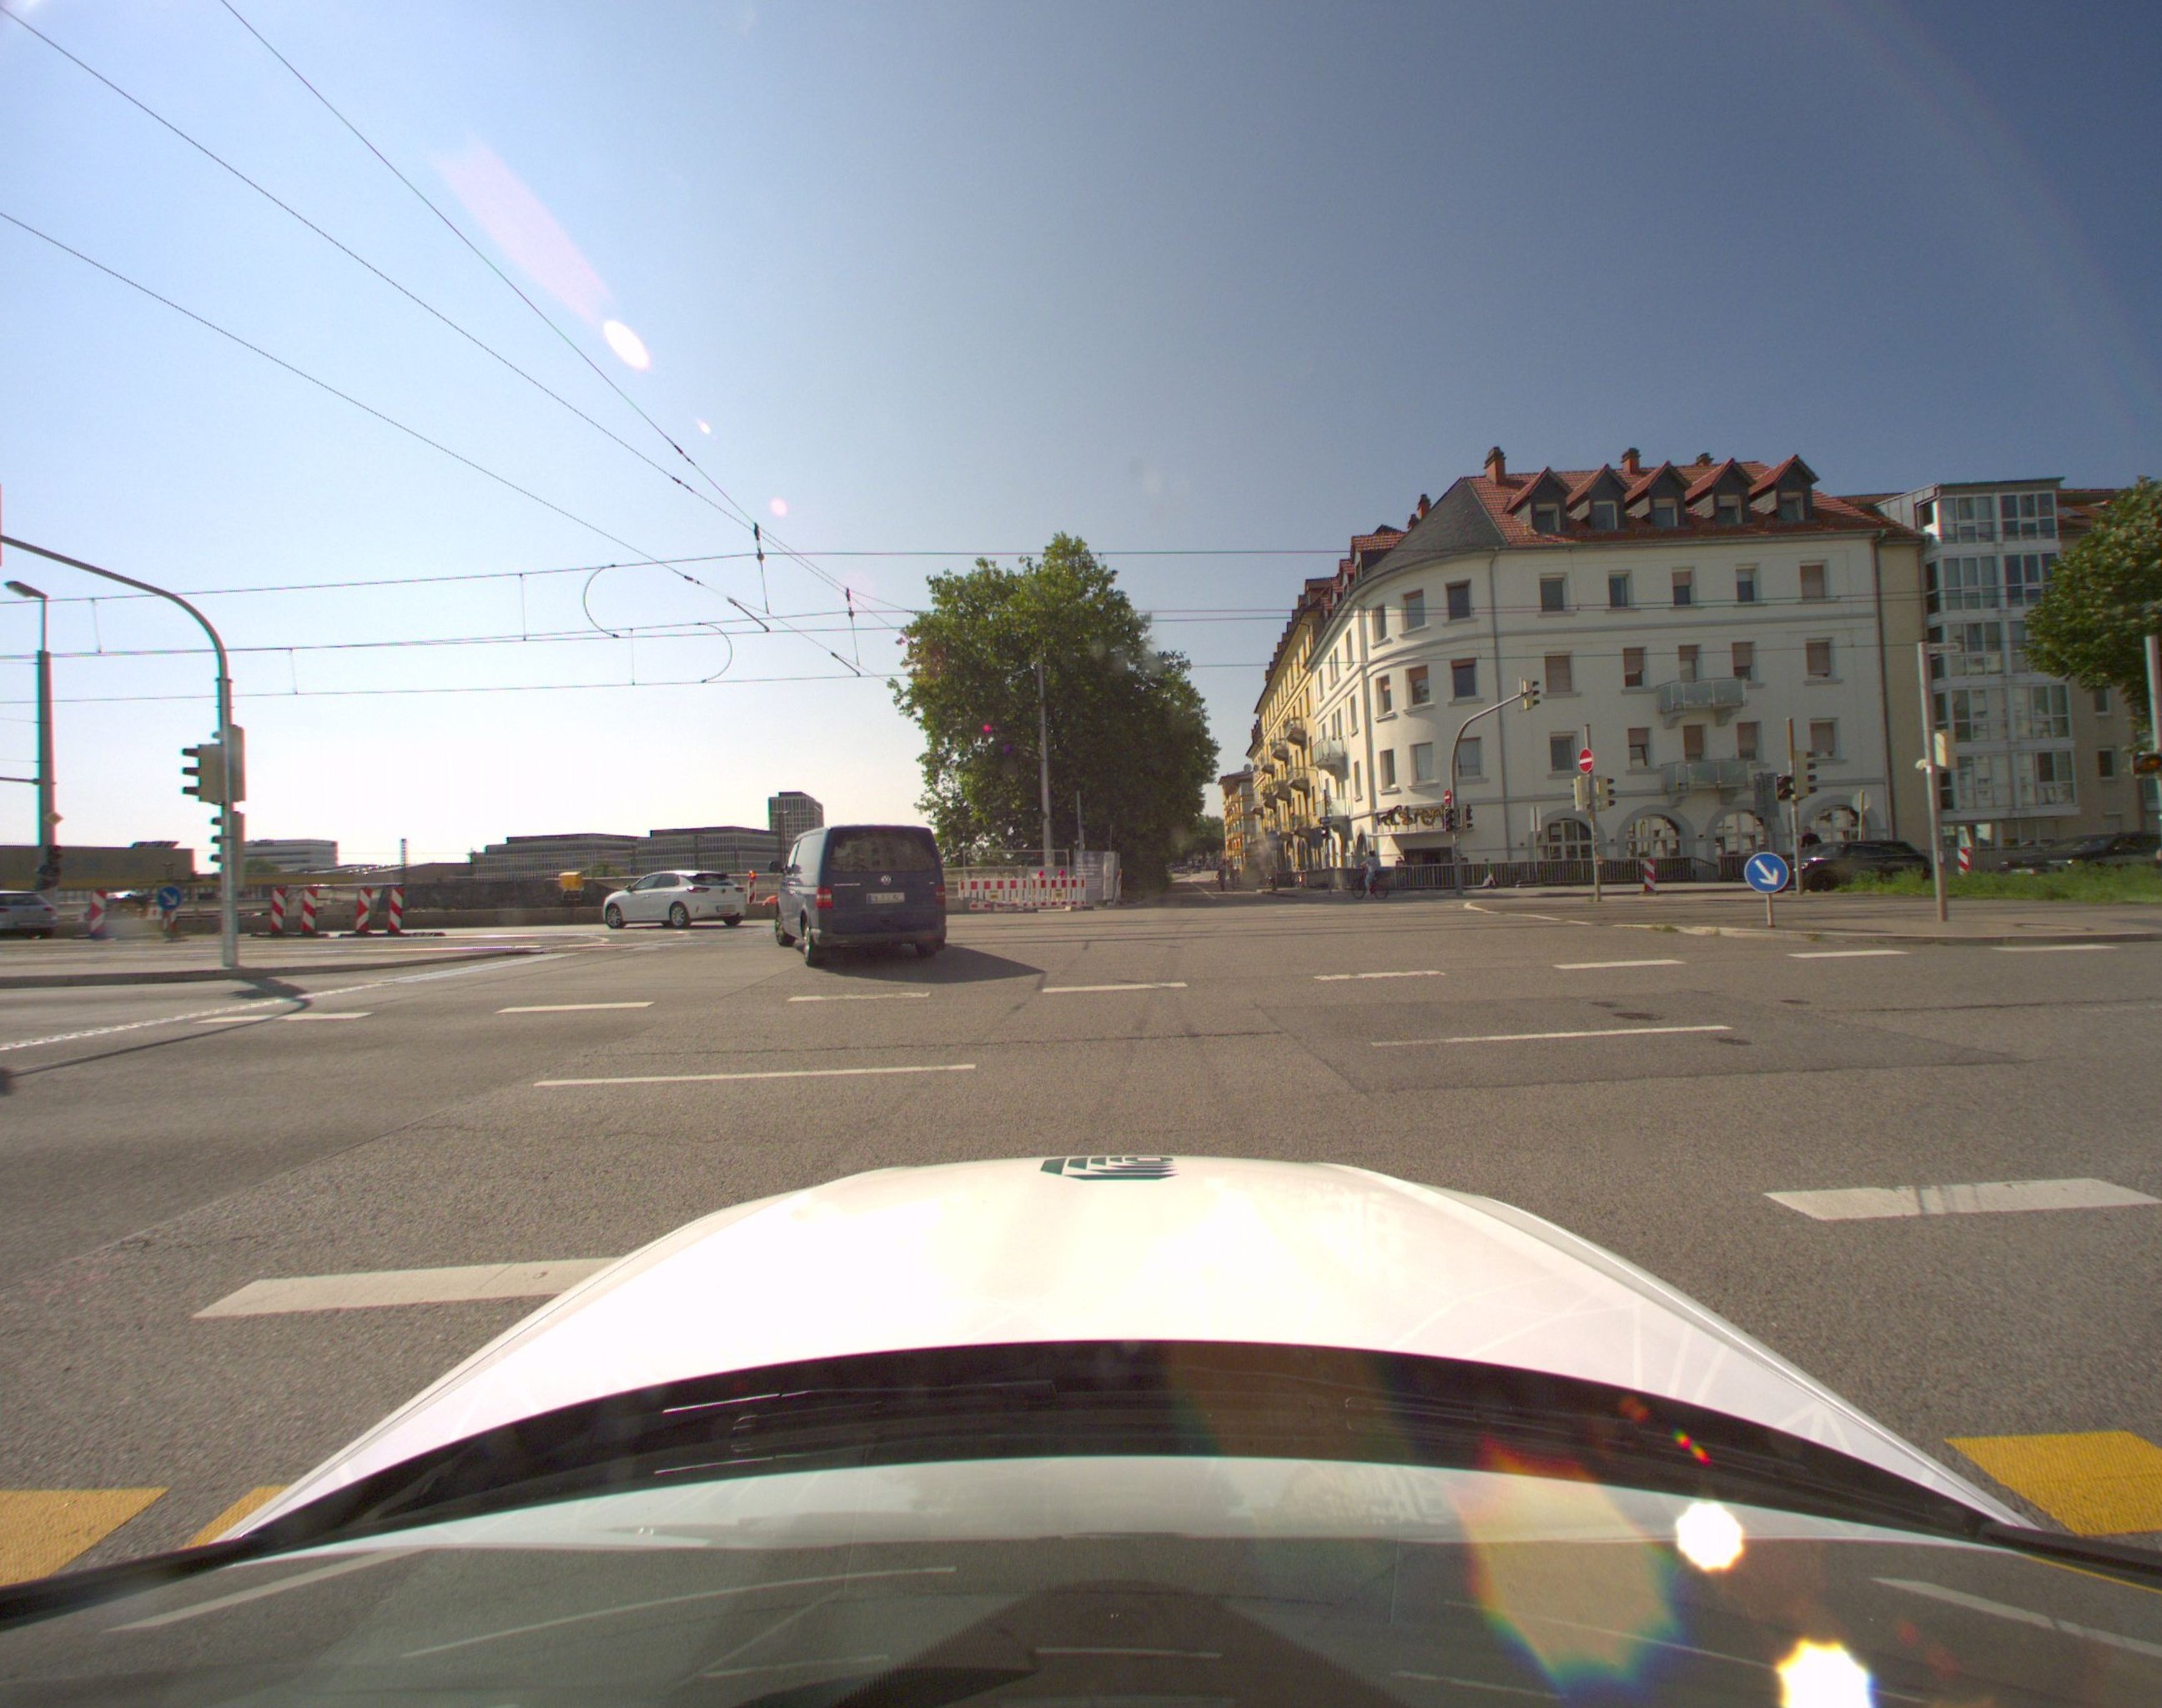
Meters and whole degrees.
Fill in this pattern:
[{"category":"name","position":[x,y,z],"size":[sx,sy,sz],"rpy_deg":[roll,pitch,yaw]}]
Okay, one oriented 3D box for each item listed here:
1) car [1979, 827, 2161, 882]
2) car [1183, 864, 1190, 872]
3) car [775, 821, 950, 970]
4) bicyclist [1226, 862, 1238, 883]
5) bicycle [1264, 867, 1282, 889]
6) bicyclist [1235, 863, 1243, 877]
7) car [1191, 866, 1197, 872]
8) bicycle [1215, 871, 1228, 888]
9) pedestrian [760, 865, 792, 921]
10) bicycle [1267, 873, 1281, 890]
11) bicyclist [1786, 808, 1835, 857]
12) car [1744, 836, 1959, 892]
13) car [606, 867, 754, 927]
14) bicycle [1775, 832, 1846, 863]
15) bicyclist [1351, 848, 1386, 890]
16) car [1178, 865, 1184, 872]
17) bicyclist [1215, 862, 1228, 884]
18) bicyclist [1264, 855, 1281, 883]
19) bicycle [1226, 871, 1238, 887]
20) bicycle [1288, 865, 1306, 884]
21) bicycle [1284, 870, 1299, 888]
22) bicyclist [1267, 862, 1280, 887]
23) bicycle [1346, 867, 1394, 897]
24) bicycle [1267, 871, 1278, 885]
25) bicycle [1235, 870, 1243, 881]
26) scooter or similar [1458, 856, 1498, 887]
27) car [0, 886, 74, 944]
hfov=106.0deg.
[{"category":"car","position":[27.556,0.018,22.288],"size":[3.973,1.354,1.768],"rpy_deg":[-2,-2,0]},{"category":"car","position":[24.962,3.313,192.354],"size":[1.617,1.622,3.703],"rpy_deg":[-2,0,7]},{"category":"car","position":[-3.560,0.535,12.719],"size":[1.826,1.905,4.019],"rpy_deg":[-2,0,-27]},{"category":"bicyclist","position":[11.200,1.384,60.342],"size":[0.832,1.537,1.026],"rpy_deg":[-2,-2,10]},{"category":"bicycle","position":[10.679,1.330,45.421],"size":[0.832,1.137,2.867],"rpy_deg":[-2,-1,10]},{"category":"bicyclist","position":[16.983,1.731,87.658],"size":[0.832,1.537,1.026],"rpy_deg":[-2,-2,10]},{"category":"car","position":[29.844,3.938,214.771],"size":[1.617,1.622,3.703],"rpy_deg":[-2,0,7]},{"category":"bicycle","position":[9.924,1.798,57.430],"size":[0.832,1.137,2.867],"rpy_deg":[-2,-1,10]},{"category":"pedestrian","position":[-10.241,1.286,27.305],"size":[0.866,1.795,0.815],"rpy_deg":[-2,1,-27]},{"category":"bicycle","position":[12.642,1.812,53.339],"size":[0.704,0.991,1.824],"rpy_deg":[-4,0,8]},{"category":"bicyclist","position":[25.701,-0.757,28.700],"size":[1.005,1.653,0.808],"rpy_deg":[-3,2,-5]},{"category":"car","position":[20.531,0.272,21.826],"size":[3.971,1.321,1.769],"rpy_deg":[-2,-2,2]},{"category":"car","position":[-10.266,1.103,20.819],"size":[3.368,1.405,1.733],"rpy_deg":[-3,-2,28]},{"category":"bicycle","position":[25.713,-0.243,28.724],"size":[1.903,1.020,0.820],"rpy_deg":[-2,2,-5]},{"category":"bicyclist","position":[10.090,0.522,28.605],"size":[0.862,1.415,0.917],"rpy_deg":[-1,-1,0]},{"category":"car","position":[26.390,3.846,214.981],"size":[1.617,1.622,3.703],"rpy_deg":[-2,0,7]},{"category":"bicyclist","position":[9.892,1.330,57.322],"size":[0.832,1.537,1.026],"rpy_deg":[-2,-2,10]},{"category":"bicyclist","position":[10.640,0.846,45.338],"size":[0.832,1.508,0.955],"rpy_deg":[-2,-2,10]},{"category":"bicycle","position":[11.204,1.814,60.321],"size":[0.832,1.137,2.867],"rpy_deg":[-2,-1,11]},{"category":"bicycle","position":[13.203,1.256,49.820],"size":[0.832,1.137,2.867],"rpy_deg":[-2,-1,10]},{"category":"bicycle","position":[13.820,1.615,53.431],"size":[0.676,1.075,2.298],"rpy_deg":[-2,-1,9]},{"category":"bicyclist","position":[12.620,1.351,53.436],"size":[0.704,1.550,0.786],"rpy_deg":[-4,0,8]},{"category":"bicycle","position":[10.101,0.955,28.554],"size":[0.862,0.990,2.246],"rpy_deg":[-1,-1,1]},{"category":"bicycle","position":[15.094,1.865,64.222],"size":[0.676,1.075,2.298],"rpy_deg":[-2,-1,9]},{"category":"bicycle","position":[17.024,2.283,87.724],"size":[0.832,1.137,2.867],"rpy_deg":[-2,-1,11]},{"category":"scooter or similar","position":[14.971,0.674,30.747],"size":[1.289,1.118,0.341],"rpy_deg":[-2,-1,20]},{"category":"car","position":[-30.844,1.715,22.607],"size":[3.672,1.532,1.723],"rpy_deg":[-2,-2,1]}]
